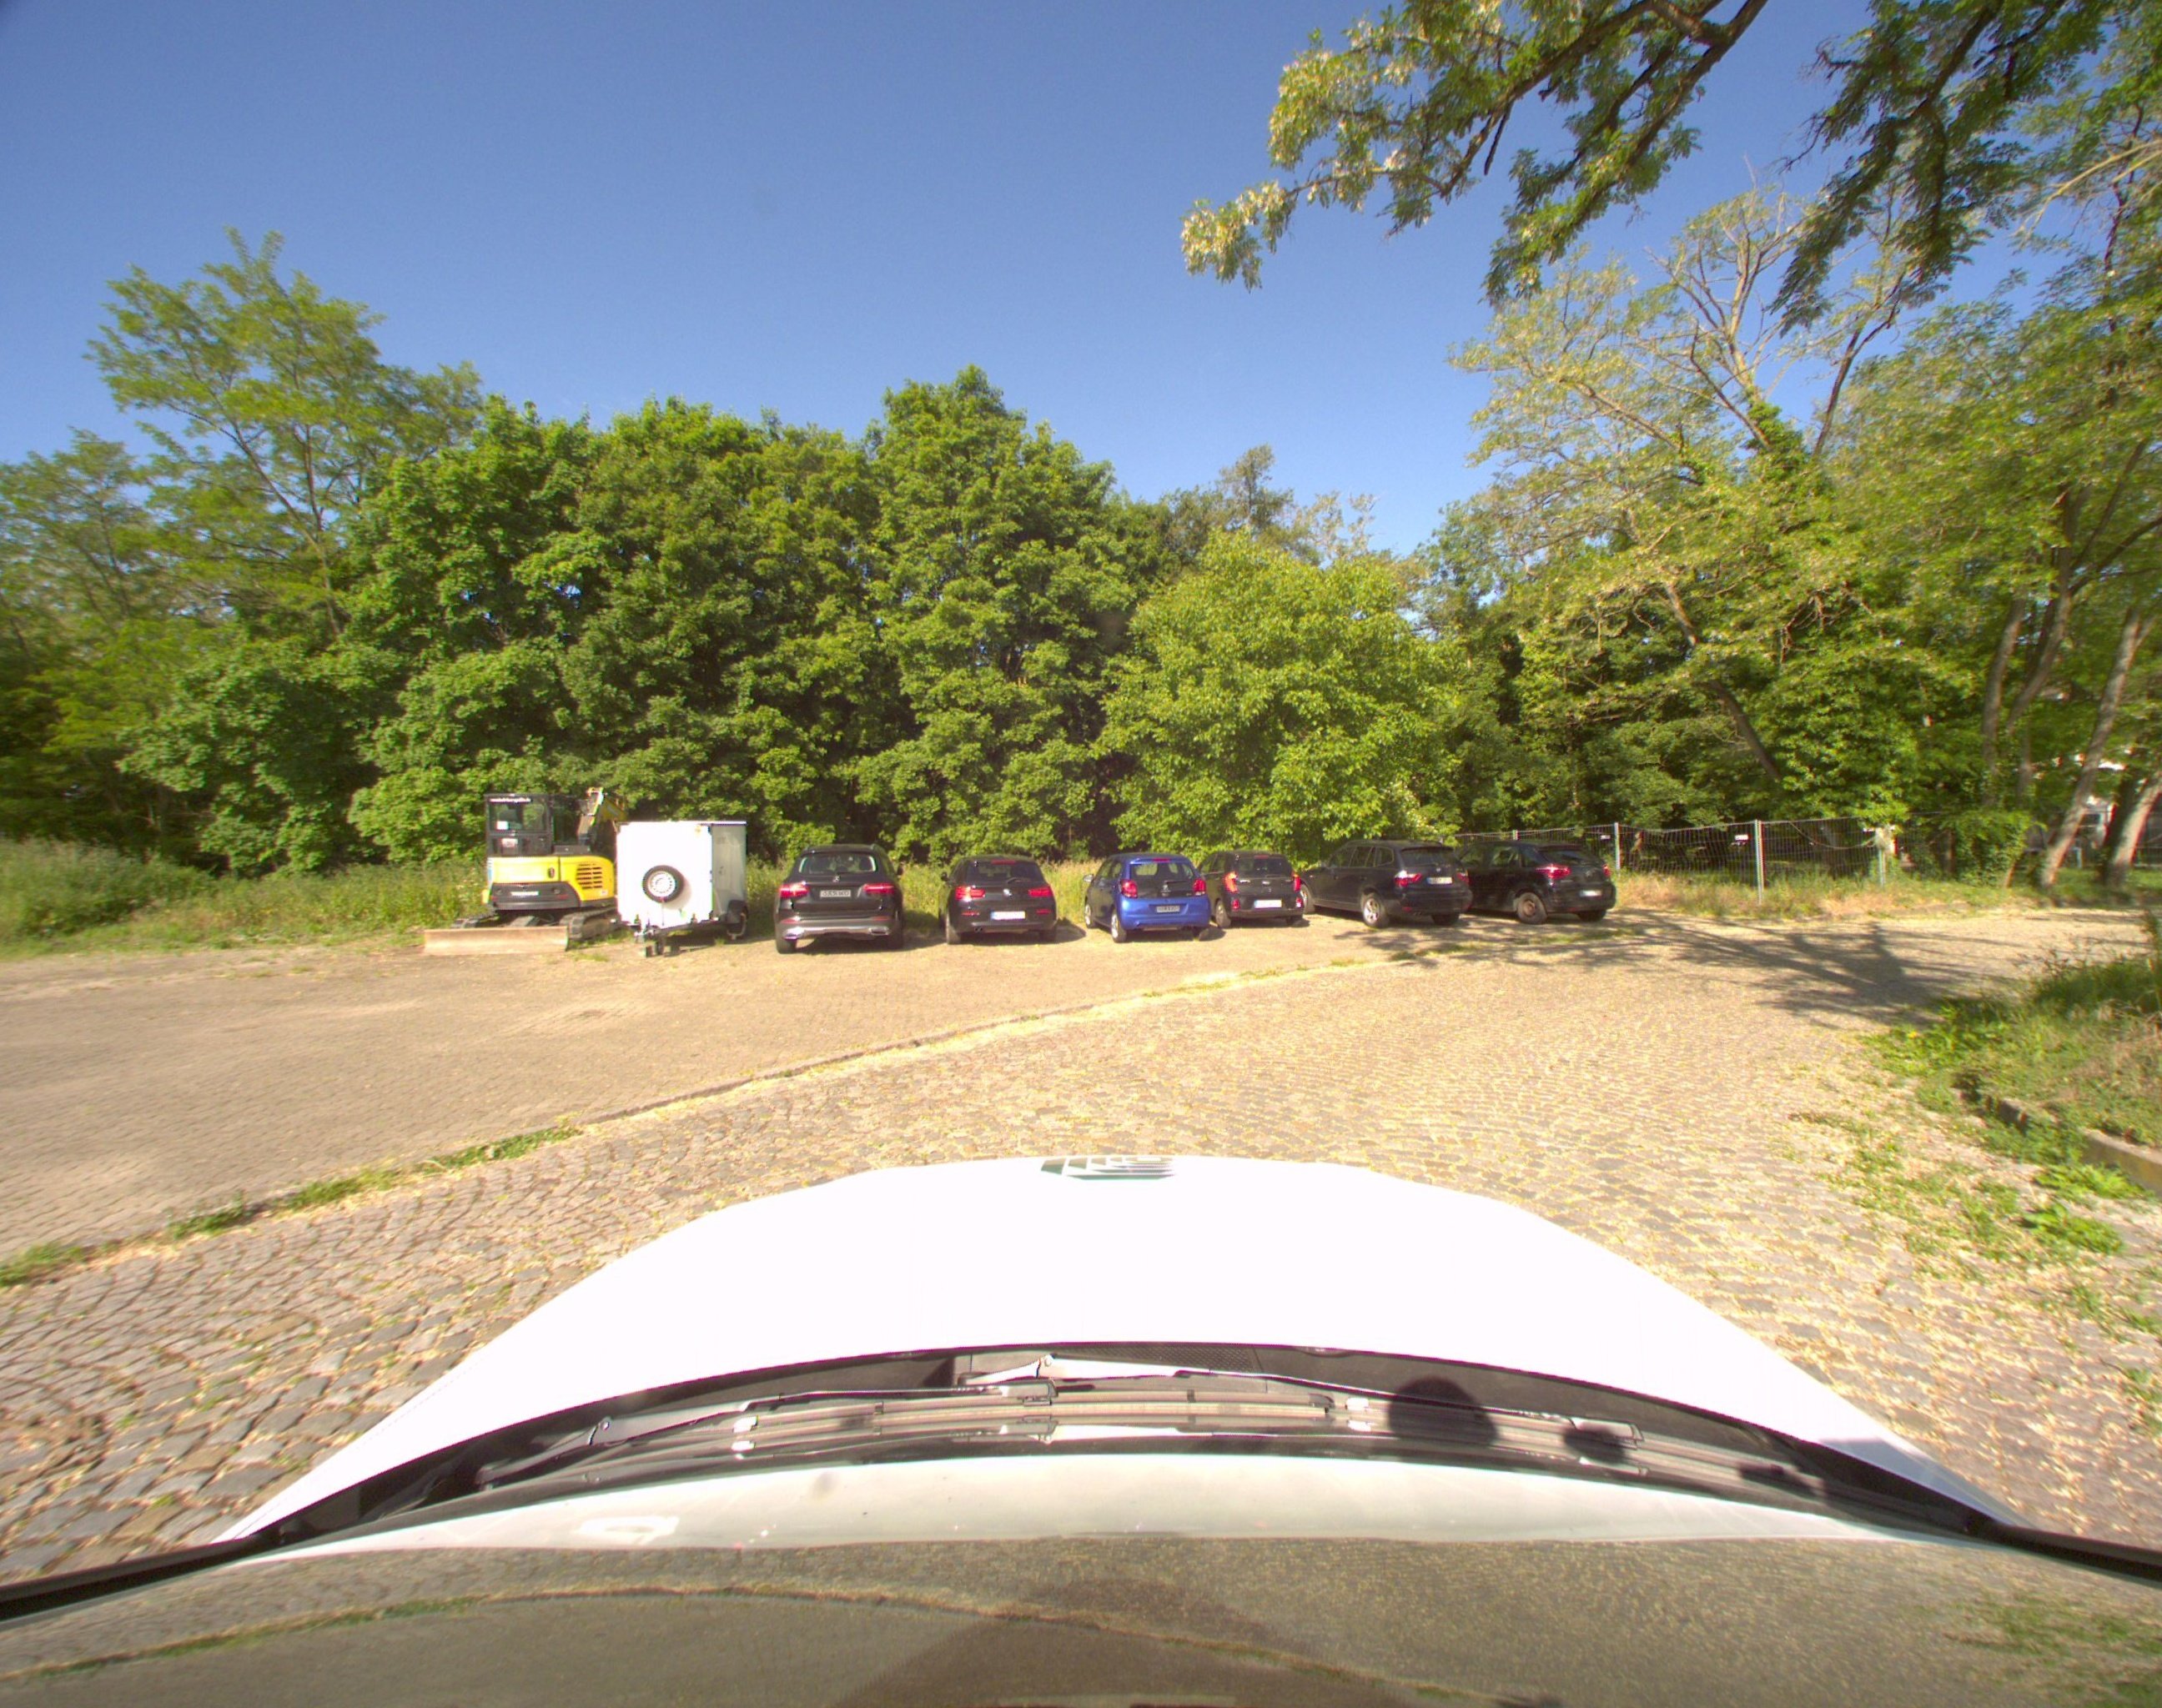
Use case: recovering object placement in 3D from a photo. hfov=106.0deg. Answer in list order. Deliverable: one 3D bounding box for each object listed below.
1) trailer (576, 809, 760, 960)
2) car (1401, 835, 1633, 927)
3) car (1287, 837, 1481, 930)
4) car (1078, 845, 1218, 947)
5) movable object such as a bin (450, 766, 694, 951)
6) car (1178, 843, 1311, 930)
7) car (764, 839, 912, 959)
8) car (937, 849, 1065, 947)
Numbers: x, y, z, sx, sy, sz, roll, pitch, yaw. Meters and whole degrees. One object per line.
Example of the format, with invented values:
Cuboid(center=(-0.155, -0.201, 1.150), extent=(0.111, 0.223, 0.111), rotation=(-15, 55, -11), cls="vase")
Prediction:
Cuboid(center=(-6.582, 0.379, 13.451), extent=(1.635, 2.093, 3.958), rotation=(-1, 1, -11), cls="trailer")
Cuboid(center=(9.076, 0.448, 17.390), extent=(1.794, 1.651, 4.272), rotation=(-1, 2, -20), cls="car")
Cuboid(center=(6.073, 0.490, 16.901), extent=(1.814, 1.656, 4.172), rotation=(-1, 1, -13), cls="car")
Cuboid(center=(1.081, 0.648, 14.894), extent=(1.709, 1.493, 3.652), rotation=(-1, 2, -10), cls="car")
Cuboid(center=(-9.459, 0.058, 15.786), extent=(1.992, 2.966, 5.151), rotation=(-1, 0, -7), cls="movable object such as a bin")
Cuboid(center=(3.223, 0.565, 16.705), extent=(1.671, 1.515, 3.543), rotation=(-1, 1, -7), cls="car")
Cuboid(center=(-3.824, 0.618, 13.450), extent=(1.862, 1.641, 3.808), rotation=(-1, 0, -10), cls="car")
Cuboid(center=(-1.526, 0.657, 14.287), extent=(1.829, 1.451, 3.648), rotation=(-1, 0, -12), cls="car")
